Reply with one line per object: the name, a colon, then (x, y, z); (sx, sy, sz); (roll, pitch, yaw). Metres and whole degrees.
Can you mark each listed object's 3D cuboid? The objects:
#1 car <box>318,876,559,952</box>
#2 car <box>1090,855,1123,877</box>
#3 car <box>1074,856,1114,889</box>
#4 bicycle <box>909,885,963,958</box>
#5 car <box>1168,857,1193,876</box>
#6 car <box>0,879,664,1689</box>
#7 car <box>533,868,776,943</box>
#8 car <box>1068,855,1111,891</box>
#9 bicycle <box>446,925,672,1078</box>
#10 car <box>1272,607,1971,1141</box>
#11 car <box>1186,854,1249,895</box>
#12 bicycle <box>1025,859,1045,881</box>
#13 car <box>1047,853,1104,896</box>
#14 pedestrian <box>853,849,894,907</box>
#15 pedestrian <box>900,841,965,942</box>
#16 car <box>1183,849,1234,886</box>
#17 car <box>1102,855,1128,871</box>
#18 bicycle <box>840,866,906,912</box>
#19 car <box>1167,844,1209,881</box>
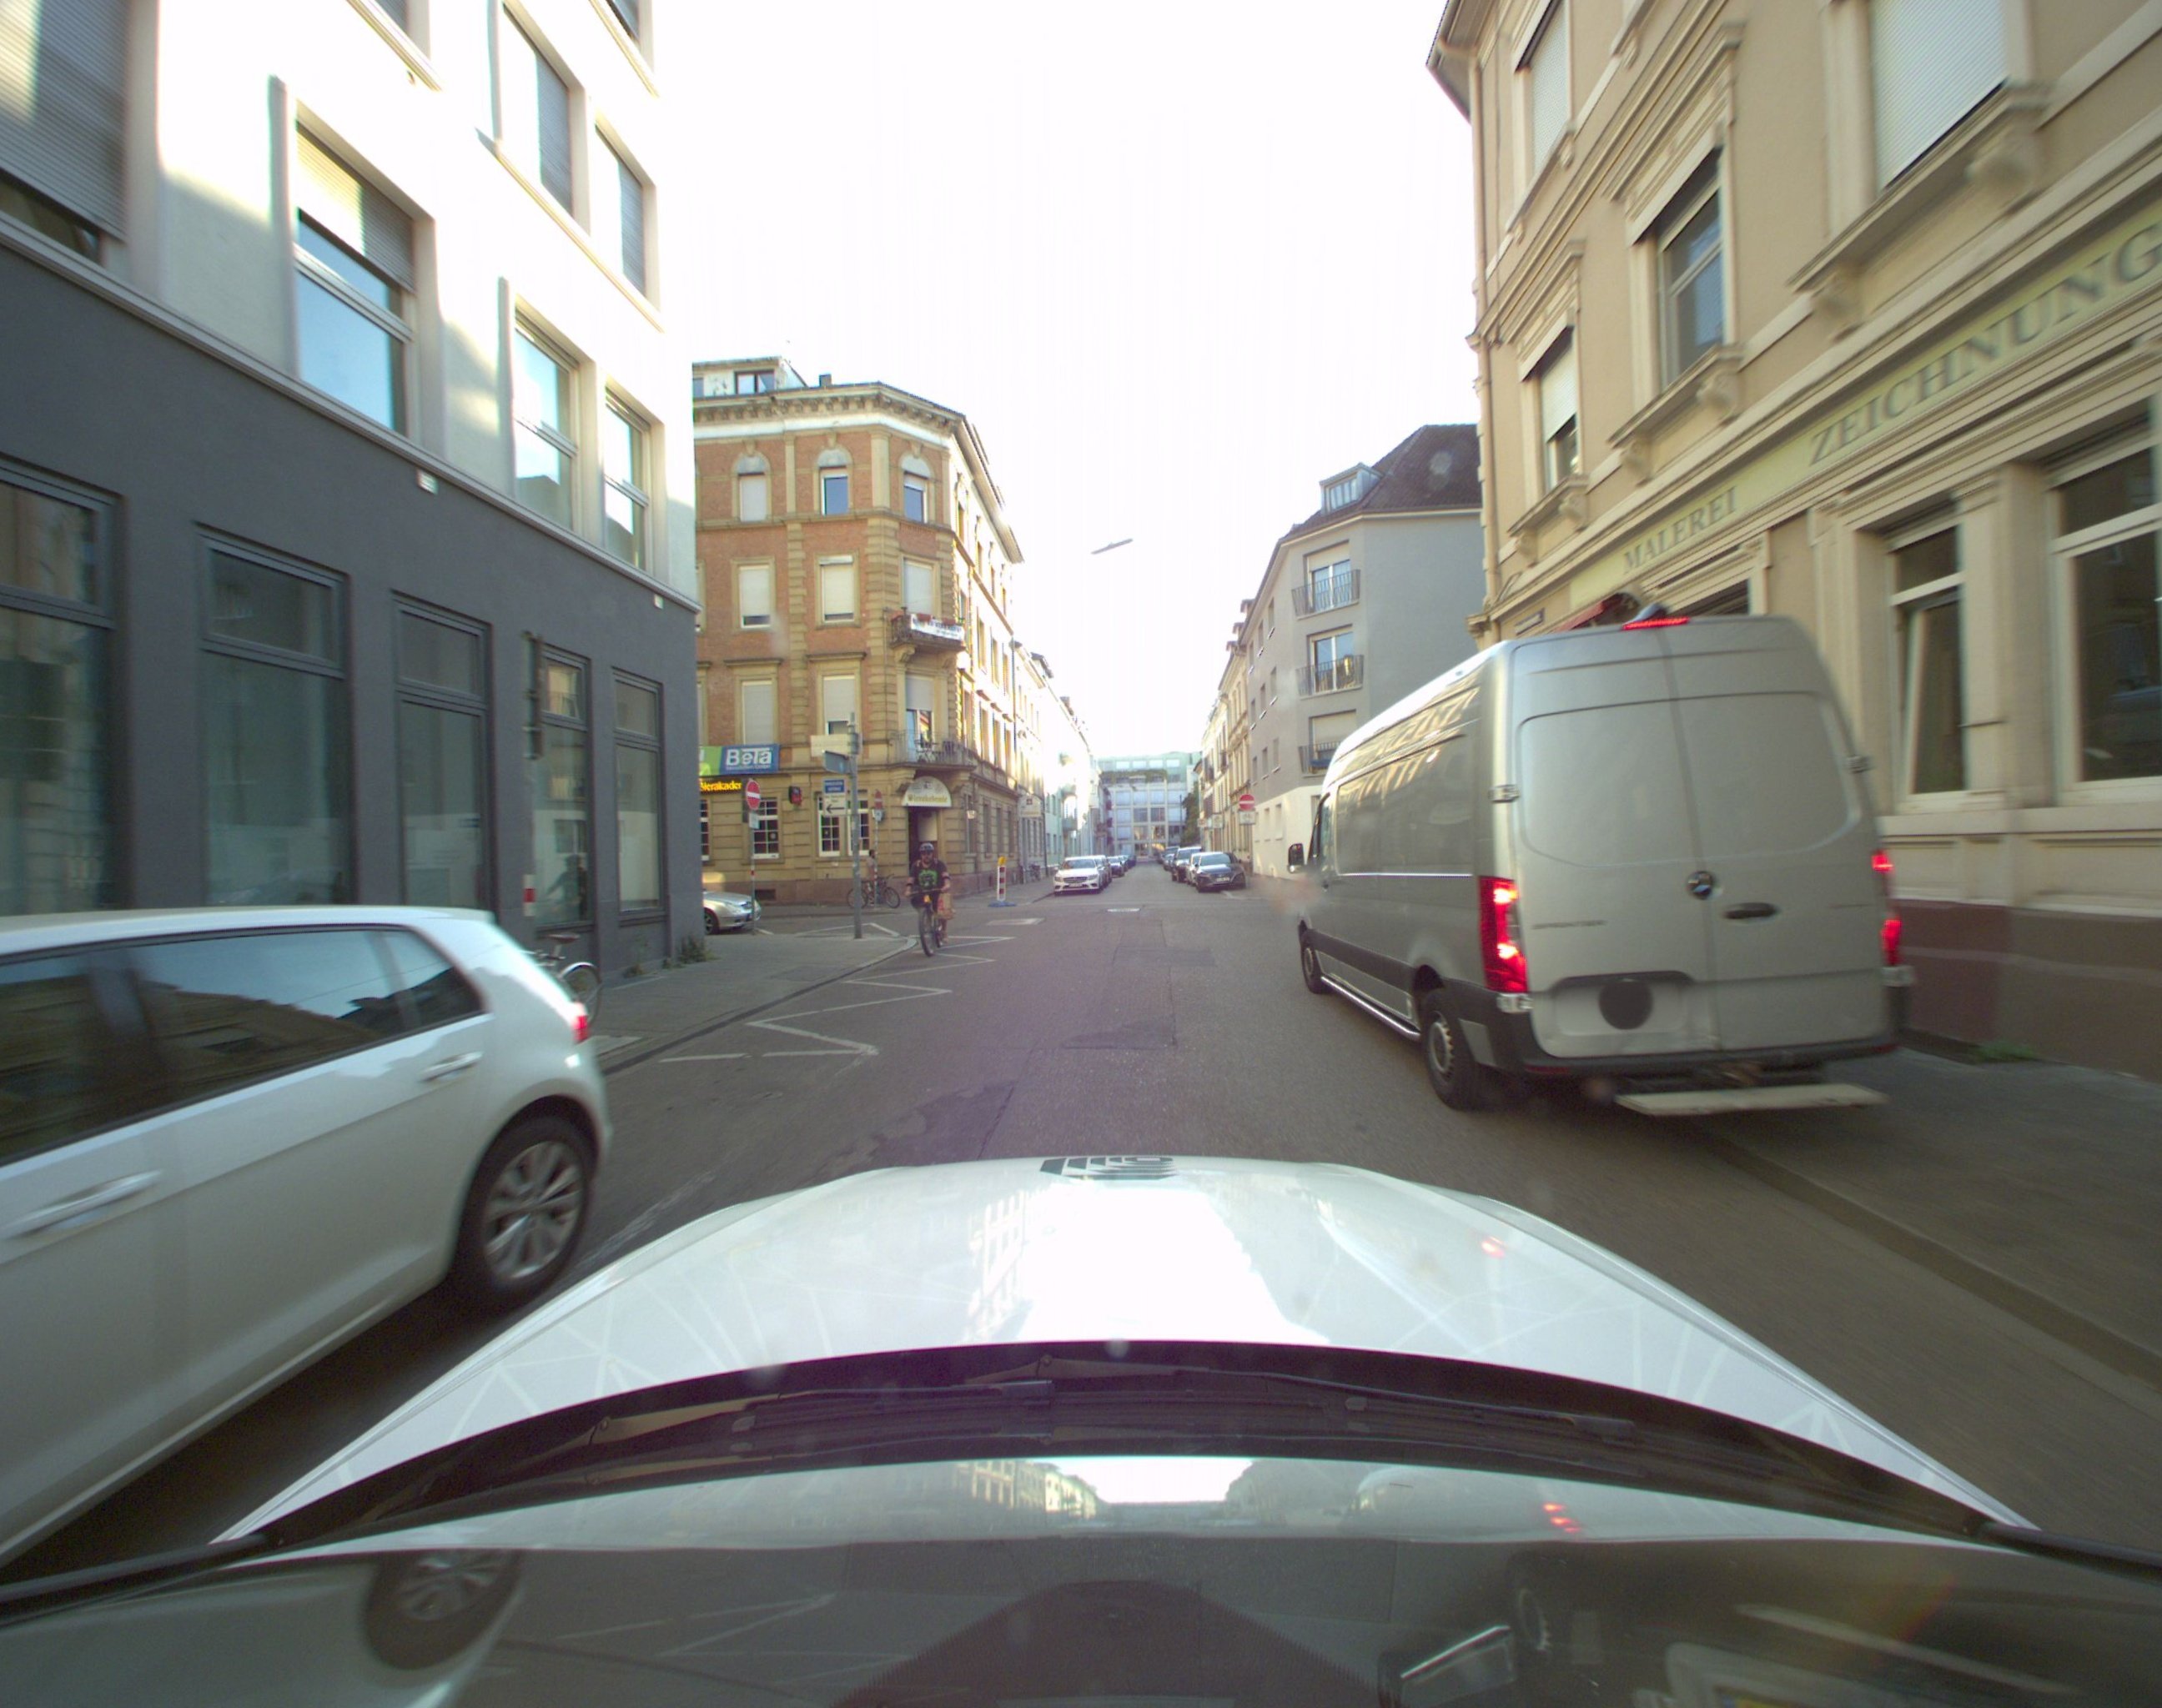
car: (-14.893, 1.359, 19.043); (4.084, 1.524, 2.017); (-2, 0, 5)
car: (1.798, 0.798, 55.530); (1.984, 1.355, 4.434); (-2, 0, 4)
car: (0.752, 0.978, 44.249); (1.776, 1.659, 3.823); (-2, 0, 6)
bicycle: (-2.316, 1.042, 13.153); (0.536, 1.007, 1.980); (-2, 0, -2)
car: (8.285, 1.002, 67.944); (1.984, 1.451, 4.006); (-1, 0, 6)
car: (-2.787, 0.828, 1.640); (1.650, 1.414, 3.886); (-2, -1, 4)
car: (-9.412, 1.118, 18.197); (4.455, 1.401, 1.758); (-2, 1, 2)
car: (0.450, 0.838, 38.510); (1.616, 1.577, 3.760); (-2, 0, 6)
bicycle: (-4.026, 1.095, 6.455); (0.593, 0.905, 1.646); (-2, 0, 6)
car: (3.210, 0.120, 6.909); (2.265, 2.439, 6.213); (-2, 0, 6)
car: (5.200, 0.746, 31.404); (1.930, 1.372, 3.792); (-4, 0, 3)
bicycle: (-2.476, 0.862, 44.478); (0.734, 1.160, 2.464); (-1, 0, 5)
car: (-0.132, 0.762, 32.880); (1.985, 1.564, 4.509); (-2, 0, 3)
pedestrian: (-6.515, 0.738, 25.585); (1.010, 1.742, 0.984); (-1, 0, -1)
pedestrian: (-2.381, 0.582, 13.178); (0.827, 1.545, 1.082); (-2, 0, -2)
car: (5.794, 0.601, 37.458); (1.955, 1.557, 3.893); (-2, 0, 4)
car: (3.071, 0.792, 73.487); (2.164, 1.418, 4.002); (-2, 0, 2)
bicycle: (-6.307, 1.051, 24.738); (1.751, 1.275, 0.661); (-2, 3, 1)
car: (5.597, 0.422, 42.912); (1.885, 1.784, 4.004); (-2, 0, 4)
